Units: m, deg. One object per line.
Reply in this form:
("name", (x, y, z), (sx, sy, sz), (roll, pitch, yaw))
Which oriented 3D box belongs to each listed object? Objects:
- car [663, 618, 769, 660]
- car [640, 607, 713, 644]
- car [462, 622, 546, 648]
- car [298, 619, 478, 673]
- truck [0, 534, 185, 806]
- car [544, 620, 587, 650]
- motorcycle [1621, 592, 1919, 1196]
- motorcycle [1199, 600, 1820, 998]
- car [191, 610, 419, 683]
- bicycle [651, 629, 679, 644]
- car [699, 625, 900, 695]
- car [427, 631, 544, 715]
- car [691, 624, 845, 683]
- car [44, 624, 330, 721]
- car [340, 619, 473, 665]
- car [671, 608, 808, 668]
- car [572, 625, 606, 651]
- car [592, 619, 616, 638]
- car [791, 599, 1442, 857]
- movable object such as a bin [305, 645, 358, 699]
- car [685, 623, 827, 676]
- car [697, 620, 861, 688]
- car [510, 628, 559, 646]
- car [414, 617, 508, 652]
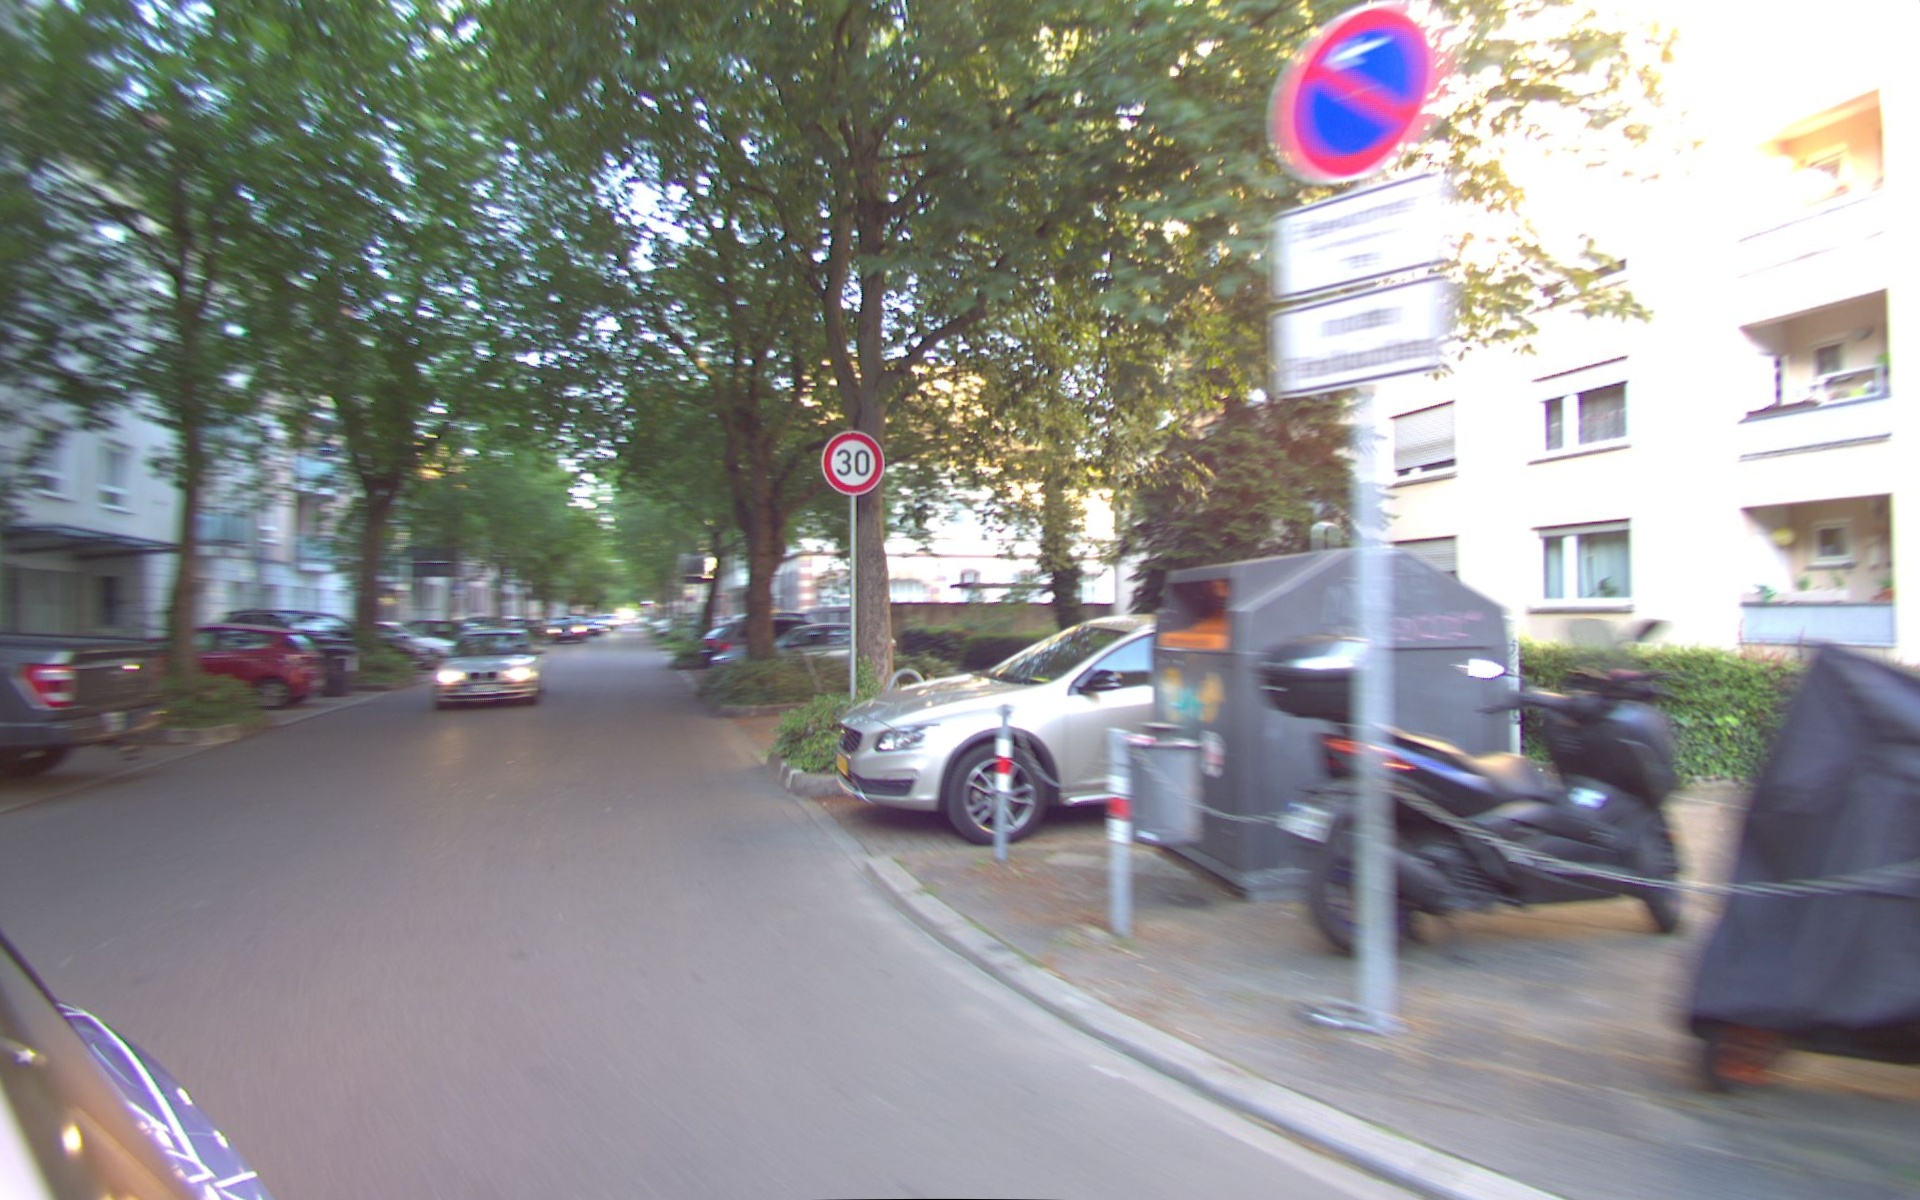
("car", (-11.076, 1.745, 45.846), (4.441, 1.785, 2.006), (0, -1, -20))
("car", (-20.397, 1.847, 72.836), (4.933, 2.592, 2.127), (0, -2, -18))
("car", (-28.321, 2.197, 62.979), (4.398, 1.438, 2.016), (3, -2, -14))
("car", (-17.608, 1.436, 31.418), (4.535, 1.479, 1.802), (3, -2, -19))
("truck", (-10.816, 0.627, 9.008), (5.806, 2.328, 2.219), (0, -1, -18))
("car", (-23.302, 2.060, 59.841), (1.863, 1.658, 4.011), (-1, -1, -14))
("motorcycle", (3.175, 0.693, 2.636), (2.231, 1.431, 0.849), (-1, -1, 13))
("motorcycle", (2.377, 0.728, 4.444), (2.419, 1.431, 0.913), (0, -1, -16))
("car", (-16.766, 1.226, 26.232), (4.576, 1.630, 2.016), (4, -3, -22))
("bicycle", (-17.071, 2.115, 58.563), (1.531, 0.837, 0.615), (0, -1, -15))
("car", (-3.668, 1.312, 22.975), (4.227, 1.440, 1.885), (0, -2, -18))
("car", (-8.938, 1.305, 19.352), (1.708, 1.381, 4.346), (0, -2, -21))
("car", (-5.360, 1.443, 28.159), (3.931, 1.502, 1.831), (0, -2, -21))
("car", (-13.778, 1.241, 18.317), (3.723, 1.556, 1.883), (0, -1, -20))
("car", (-20.102, 1.544, 36.953), (4.025, 1.462, 1.941), (4, -3, -23))
("car", (-7.747, 1.305, 35.411), (4.441, 1.970, 2.006), (0, -1, -20))
("car", (-27.543, 2.812, 75.150), (1.966, 1.863, 4.011), (-1, -1, -14))
("car", (-37.070, 3.004, 105.496), (1.966, 1.863, 4.011), (-1, -1, -14))
("car", (1.099, 0.820, 7.939), (4.555, 1.564, 2.081), (-1, -1, -16))
("movable object such as a bin", (-13.158, 1.509, 21.208), (0.750, 1.092, 0.788), (2, -2, -17))
("car", (-6.143, 1.455, 30.350), (3.931, 1.475, 1.928), (0, -2, -20))
("car", (-4.602, 1.318, 25.597), (3.933, 1.577, 1.934), (0, -1, -13))
("car", (-38.021, 3.282, 90.576), (4.024, 1.502, 1.804), (0, -2, -21))
("car", (-24.725, 1.713, 50.270), (3.913, 1.597, 1.922), (3, -2, -19))
